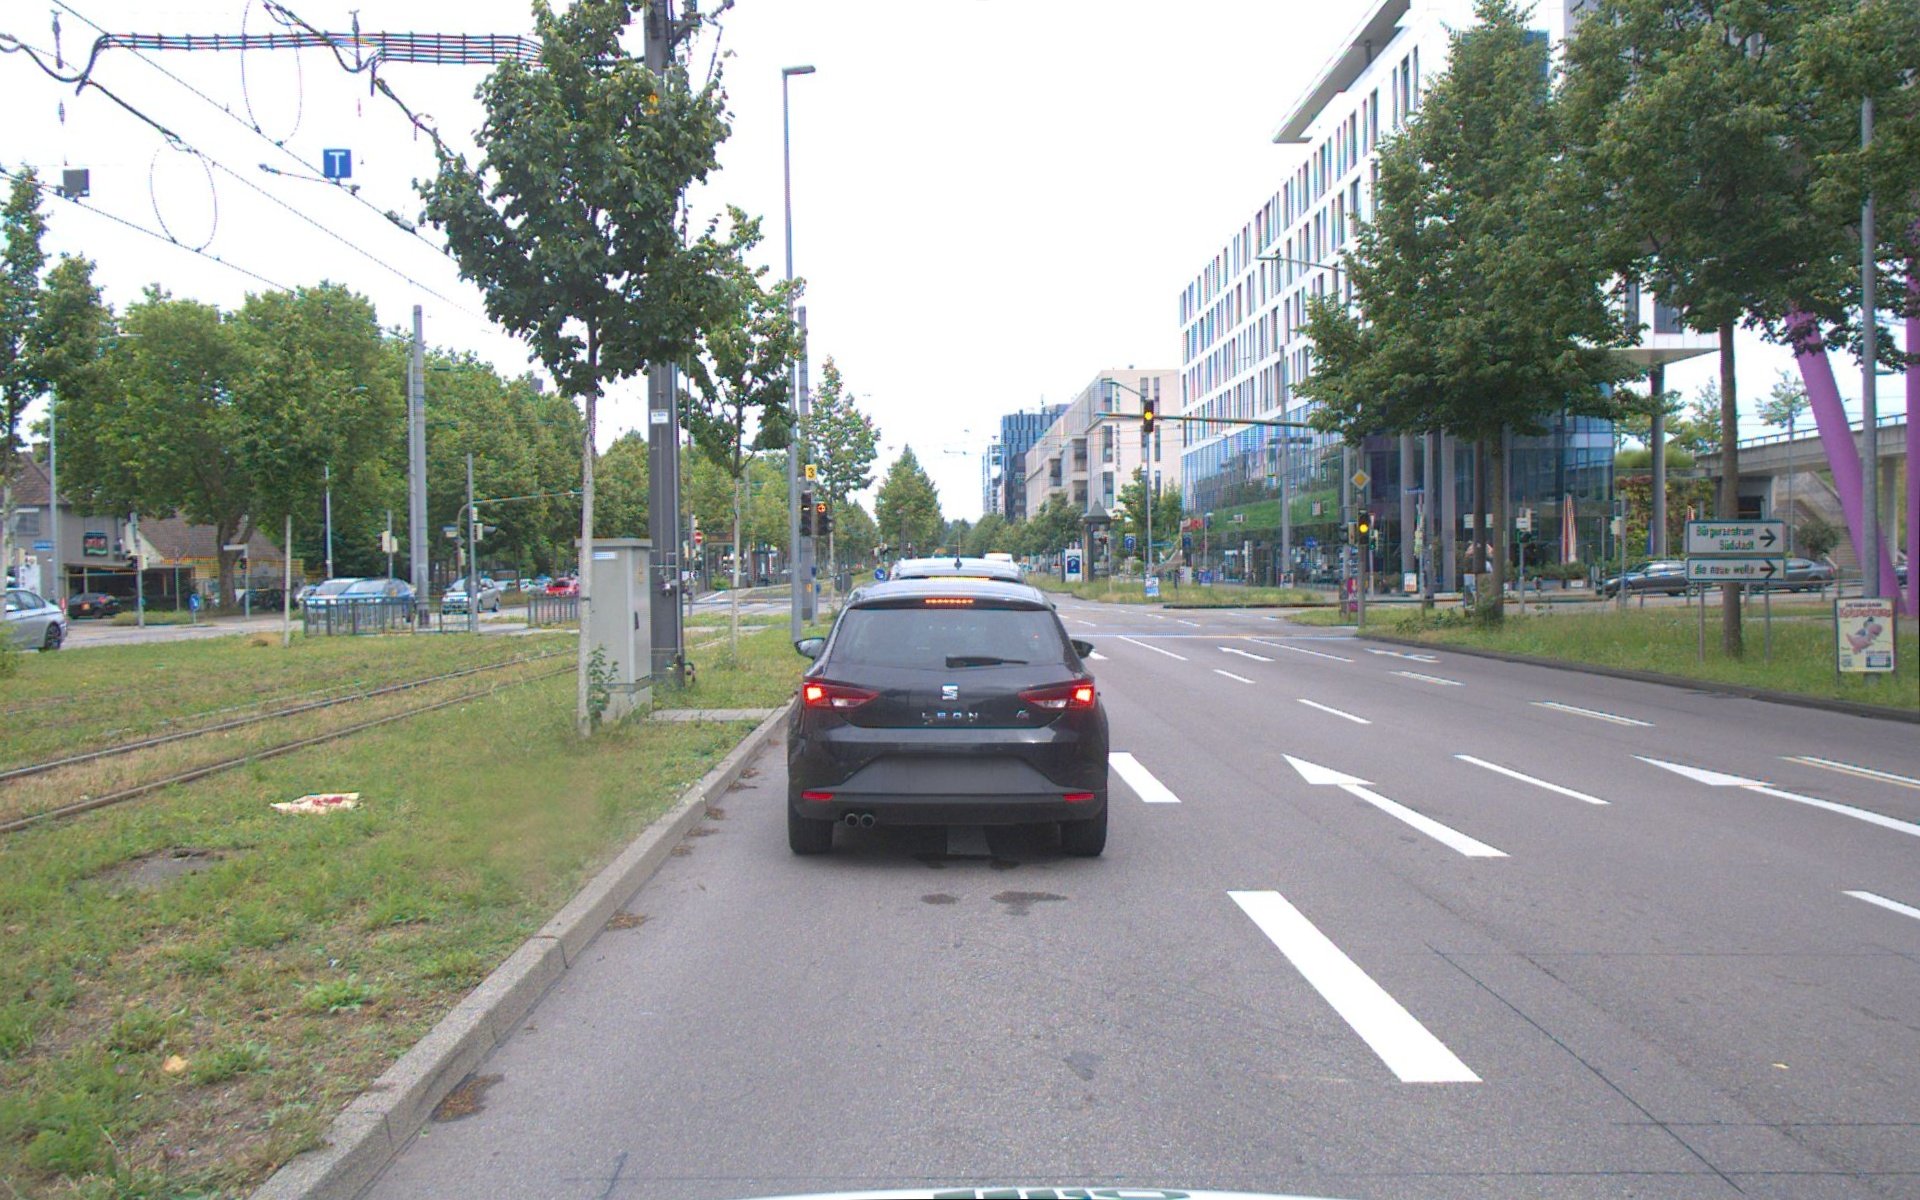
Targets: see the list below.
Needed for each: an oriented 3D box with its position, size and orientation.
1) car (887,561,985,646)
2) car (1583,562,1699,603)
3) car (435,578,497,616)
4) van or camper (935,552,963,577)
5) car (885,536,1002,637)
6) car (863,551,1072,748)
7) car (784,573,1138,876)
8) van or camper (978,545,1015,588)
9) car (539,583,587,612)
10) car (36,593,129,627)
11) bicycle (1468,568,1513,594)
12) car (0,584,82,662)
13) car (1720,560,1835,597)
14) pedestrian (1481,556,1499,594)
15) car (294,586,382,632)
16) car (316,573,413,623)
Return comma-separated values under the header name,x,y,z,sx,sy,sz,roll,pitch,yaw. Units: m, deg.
name,x,y,z,sx,sy,sz,roll,pitch,yaw
car,-0.467,0.022,35.837,1.952,1.711,4.001,1,1,1
car,28.506,-0.733,69.298,4.163,1.643,1.758,-1,1,1
car,-23.077,-0.170,77.432,1.686,1.672,4.672,-1,1,-3
van or camper,-0.777,-2.553,118.111,1.953,1.643,4.789,0,2,0
car,-0.237,-0.281,30.410,1.952,1.711,4.002,1,1,2
car,0.040,0.379,16.140,1.766,1.652,4.000,-1,1,-1
car,-0.048,0.574,10.038,1.708,1.442,3.999,1,1,-2
van or camper,2.161,-2.021,98.562,2.066,2.396,4.924,0,3,0
car,-23.505,-0.189,97.973,1.759,1.598,4.328,-1,1,0
car,-50.453,0.581,95.144,4.190,1.847,2.108,-1,1,3
bicycle,22.795,-0.810,71.110,1.755,1.104,0.618,-1,1,1
car,-19.934,0.502,33.763,1.695,1.470,4.918,-3,2,-5
car,34.413,-0.911,69.700,3.996,1.480,1.758,-1,1,1
pedestrian,22.791,-1.074,71.106,0.602,1.632,0.619,-1,1,1
car,-23.549,0.317,62.796,1.760,1.598,4.576,2,0,-3
car,-20.652,-0.096,57.576,1.925,1.616,4.686,0,1,-4
